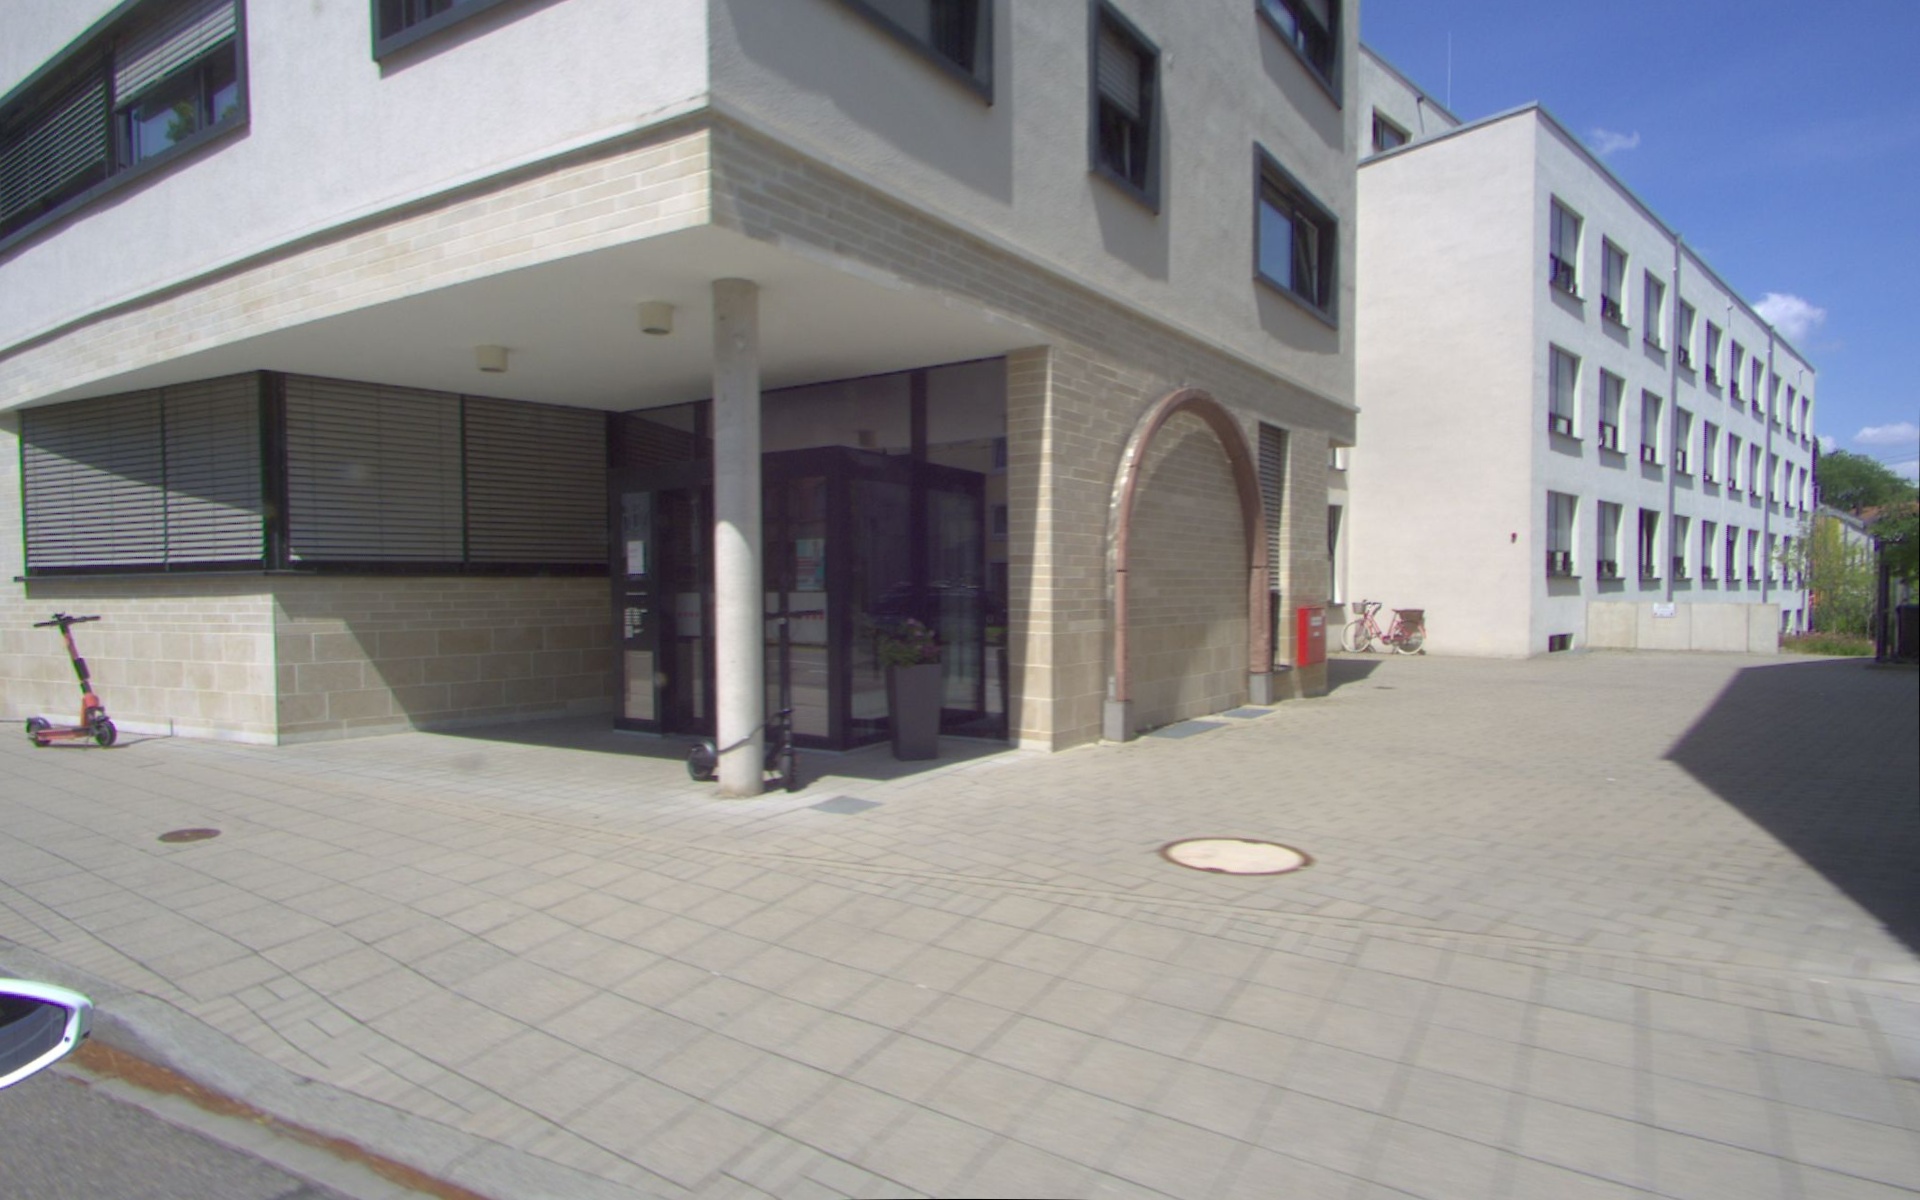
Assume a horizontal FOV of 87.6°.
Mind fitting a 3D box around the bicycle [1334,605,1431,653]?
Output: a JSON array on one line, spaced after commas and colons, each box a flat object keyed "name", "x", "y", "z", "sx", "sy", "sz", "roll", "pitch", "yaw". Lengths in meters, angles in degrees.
[{"name": "bicycle", "x": 9.298, "y": 0.624, "z": 22.072, "sx": 0.690, "sy": 0.979, "sz": 1.846, "roll": -2, "pitch": 2, "yaw": -45}]

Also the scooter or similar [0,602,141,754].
[{"name": "scooter or similar", "x": -8.243, "y": 0.673, "z": 9.160, "sx": 1.345, "sy": 1.278, "sz": 0.581, "roll": 0, "pitch": 4, "yaw": 26}]

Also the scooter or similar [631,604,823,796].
[{"name": "scooter or similar", "x": -1.613, "y": 0.648, "z": 6.914, "sx": 1.293, "sy": 1.228, "sz": 0.422, "roll": 1, "pitch": 2, "yaw": 24}]
